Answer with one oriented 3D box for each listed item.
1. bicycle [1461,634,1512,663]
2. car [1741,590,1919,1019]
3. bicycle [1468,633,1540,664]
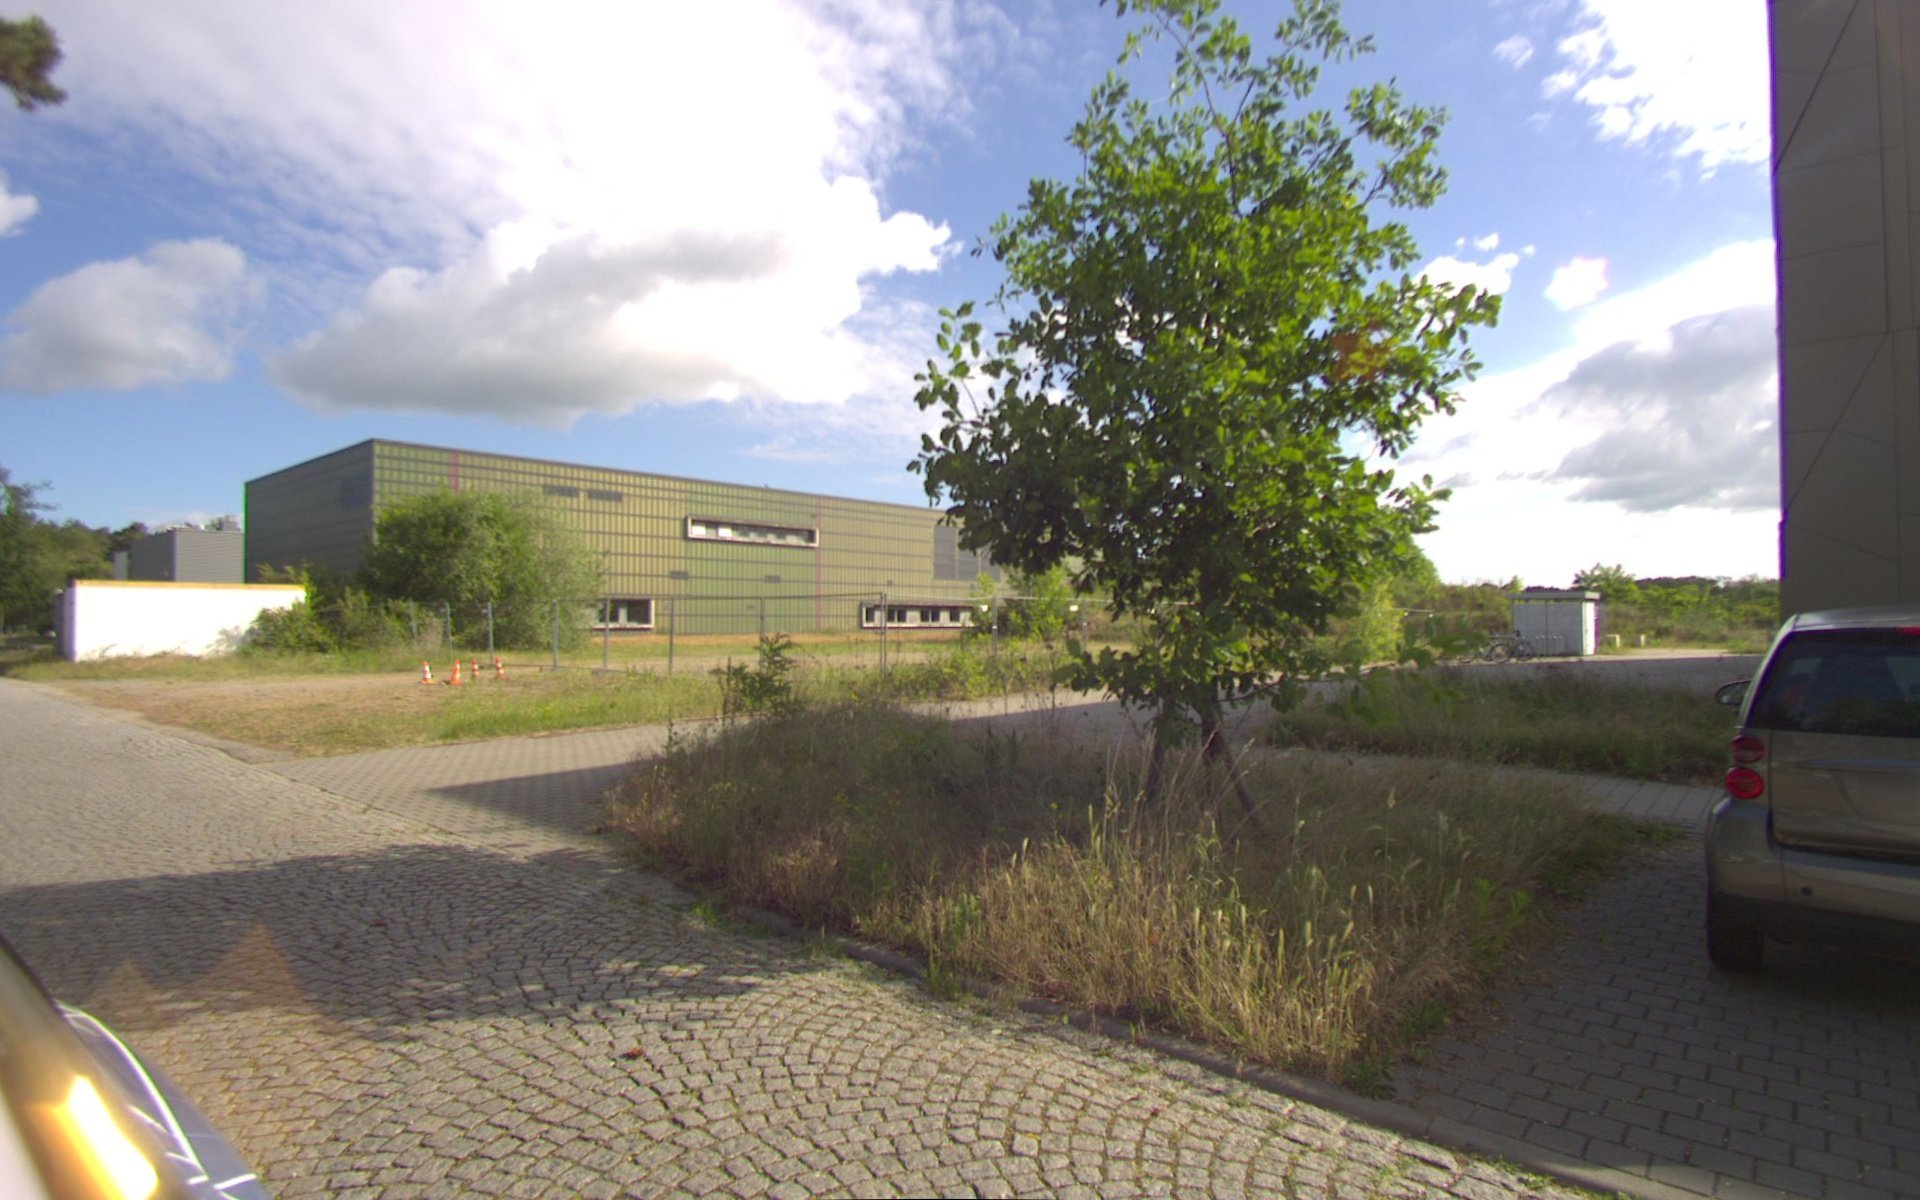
[{"bbox_3d":[17.117,1.592,32.928,1.358,0.906,0.511,-4,-4,44],"label":"bicycle"},{"bbox_3d":[4.563,0.738,4.554,1.518,1.554,2.671,-1,0,40],"label":"car"},{"bbox_3d":[18.563,1.663,34.565,1.968,0.976,0.830,-5,-4,44],"label":"bicycle"}]
